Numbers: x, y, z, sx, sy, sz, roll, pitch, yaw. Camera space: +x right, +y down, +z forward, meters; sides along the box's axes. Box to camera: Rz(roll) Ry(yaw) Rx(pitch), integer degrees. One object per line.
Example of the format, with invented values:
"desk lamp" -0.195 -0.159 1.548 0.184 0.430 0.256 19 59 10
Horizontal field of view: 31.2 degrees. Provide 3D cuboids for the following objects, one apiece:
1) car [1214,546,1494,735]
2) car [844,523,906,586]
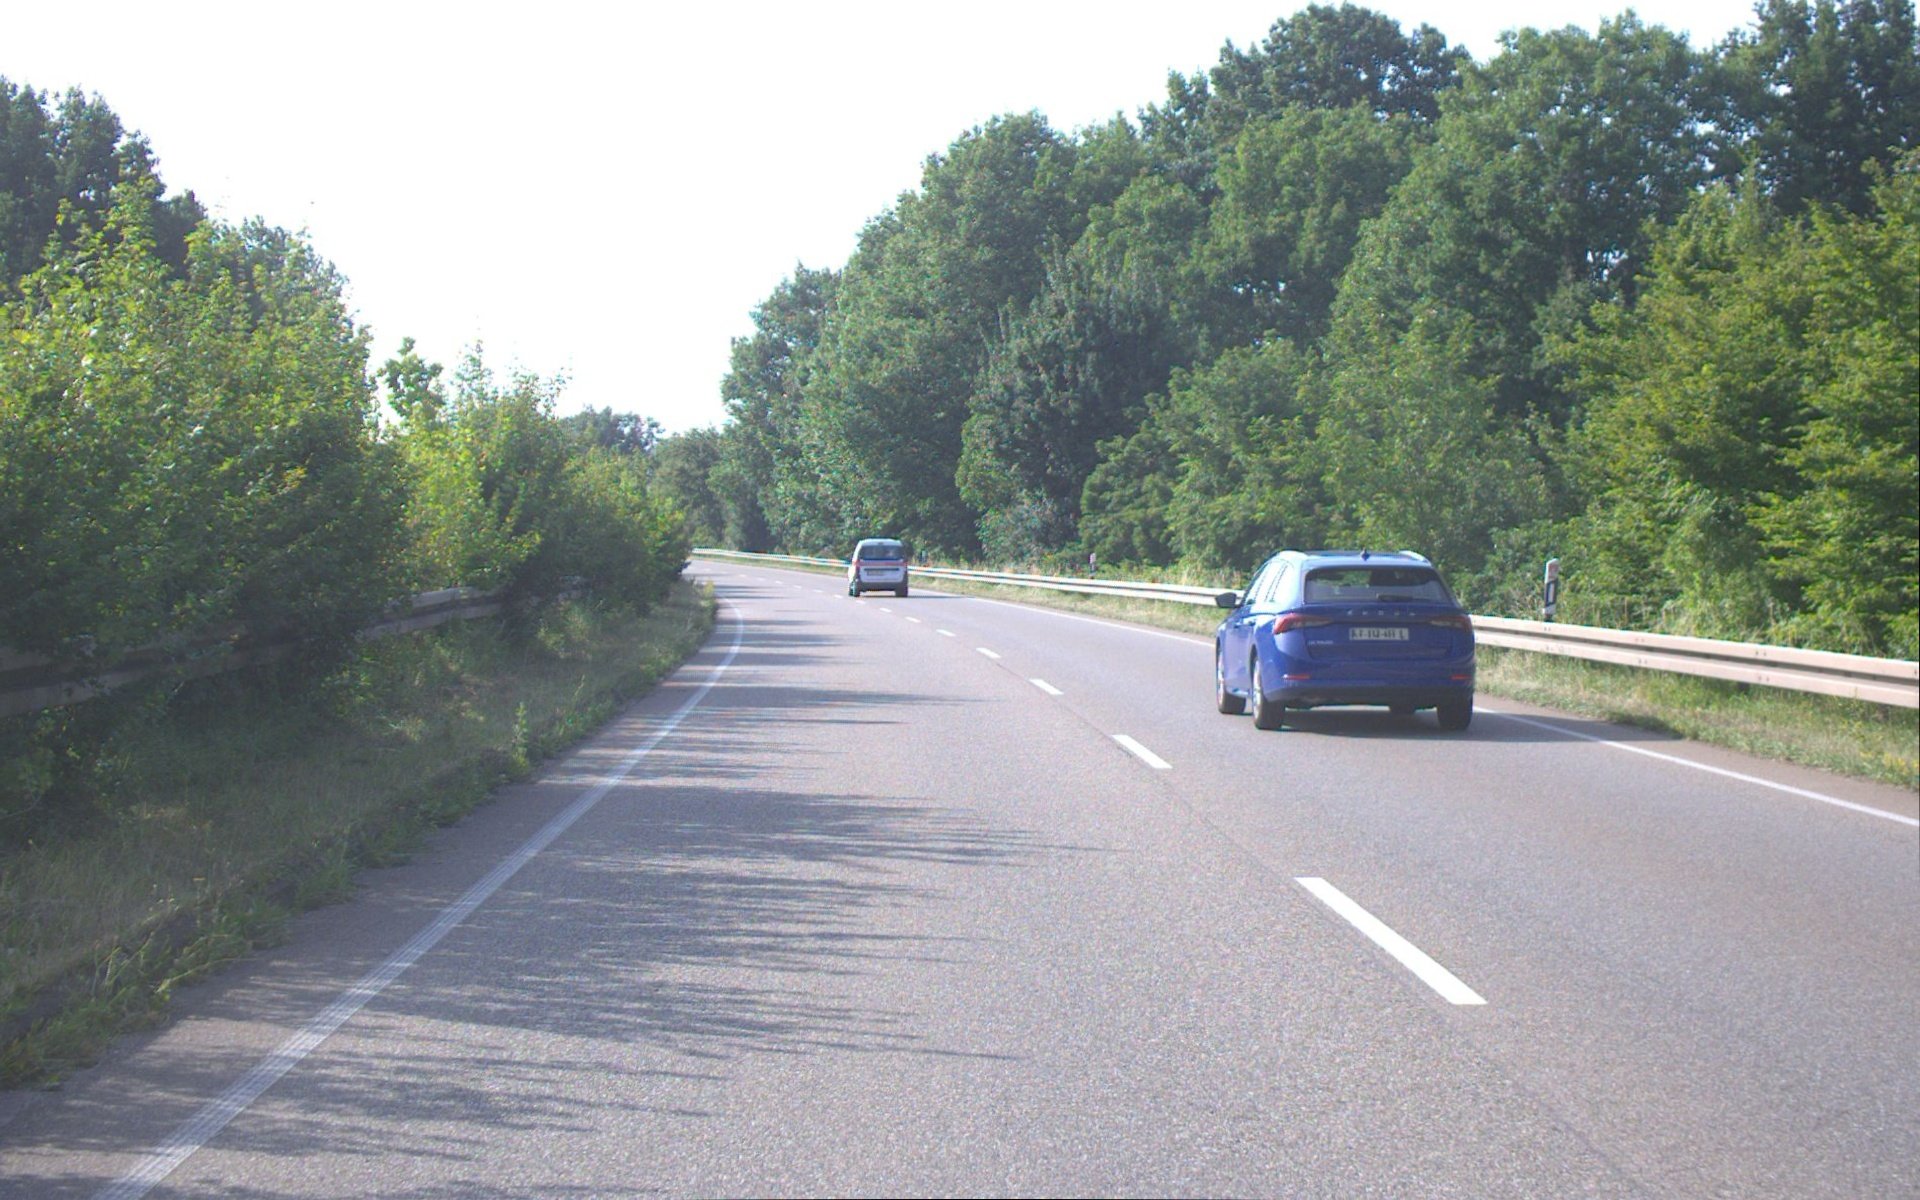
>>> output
"car" 3.226 0.285 28.884 1.779 1.446 4.000 0 1 -2
"car" -2.687 -1.447 107.714 1.765 1.875 4.001 0 2 -4
